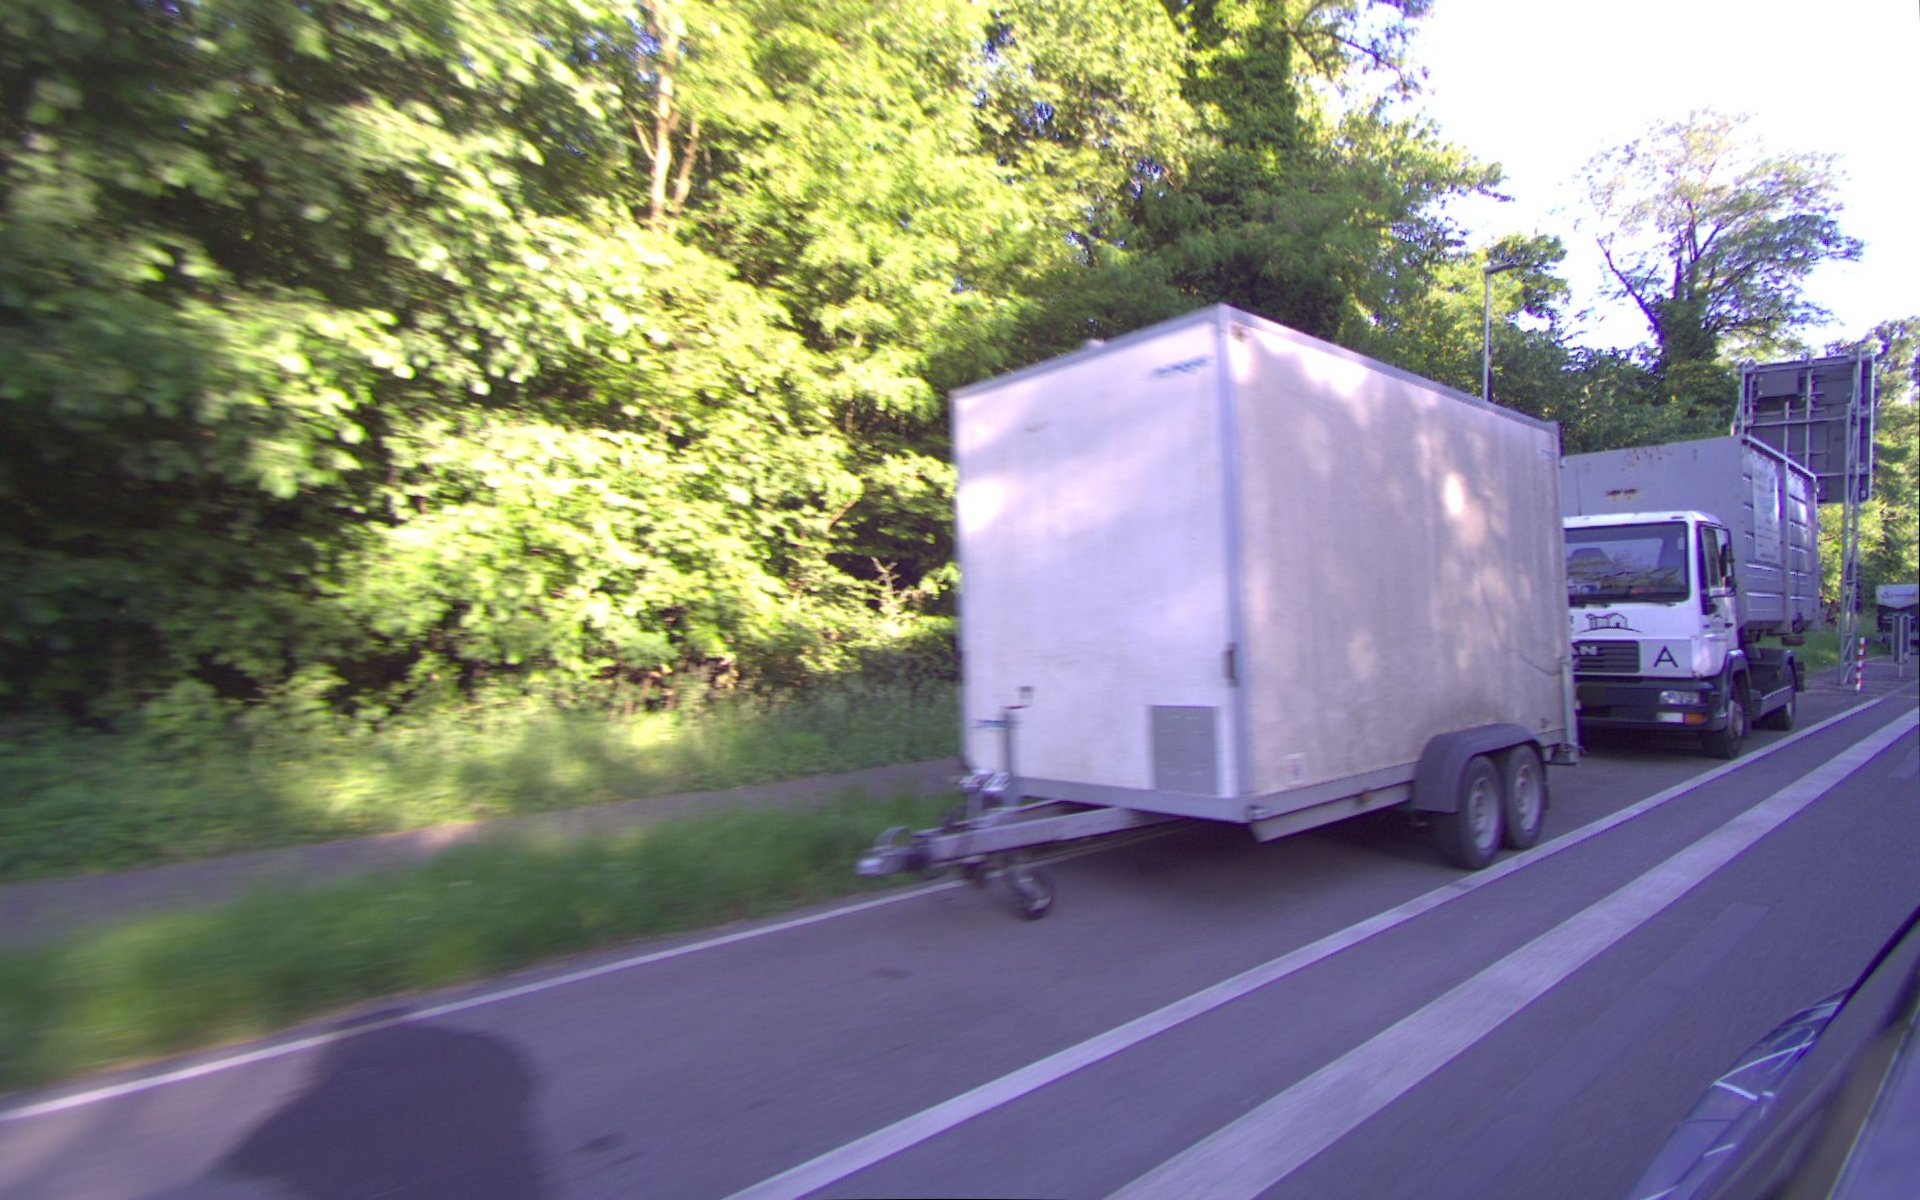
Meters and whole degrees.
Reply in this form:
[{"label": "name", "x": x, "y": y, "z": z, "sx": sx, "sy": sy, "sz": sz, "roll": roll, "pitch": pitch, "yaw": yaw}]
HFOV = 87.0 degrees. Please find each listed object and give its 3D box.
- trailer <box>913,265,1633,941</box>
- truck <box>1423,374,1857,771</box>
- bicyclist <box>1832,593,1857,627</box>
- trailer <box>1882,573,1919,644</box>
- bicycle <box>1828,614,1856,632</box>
[{"label": "trailer", "x": 2.393, "y": 0.003, "z": 6.848, "sx": 5.115, "sy": 2.881, "sz": 2.277, "roll": 0, "pitch": 0, "yaw": -40}, {"label": "truck", "x": 8.308, "y": -0.265, "z": 11.942, "sx": 6.983, "sy": 3.409, "sz": 2.509, "roll": 0, "pitch": 0, "yaw": -41}, {"label": "bicyclist", "x": 35.644, "y": 0.381, "z": 40.786, "sx": 1.155, "sy": 1.341, "sz": 0.611, "roll": 0, "pitch": 0, "yaw": -41}, {"label": "trailer", "x": 30.160, "y": 0.265, "z": 31.233, "sx": 2.346, "sy": 2.139, "sz": 1.623, "roll": 0, "pitch": 0, "yaw": -20}, {"label": "bicycle", "x": 35.518, "y": 0.915, "z": 40.741, "sx": 1.962, "sy": 0.701, "sz": 0.592, "roll": 0, "pitch": 0, "yaw": -41}]
